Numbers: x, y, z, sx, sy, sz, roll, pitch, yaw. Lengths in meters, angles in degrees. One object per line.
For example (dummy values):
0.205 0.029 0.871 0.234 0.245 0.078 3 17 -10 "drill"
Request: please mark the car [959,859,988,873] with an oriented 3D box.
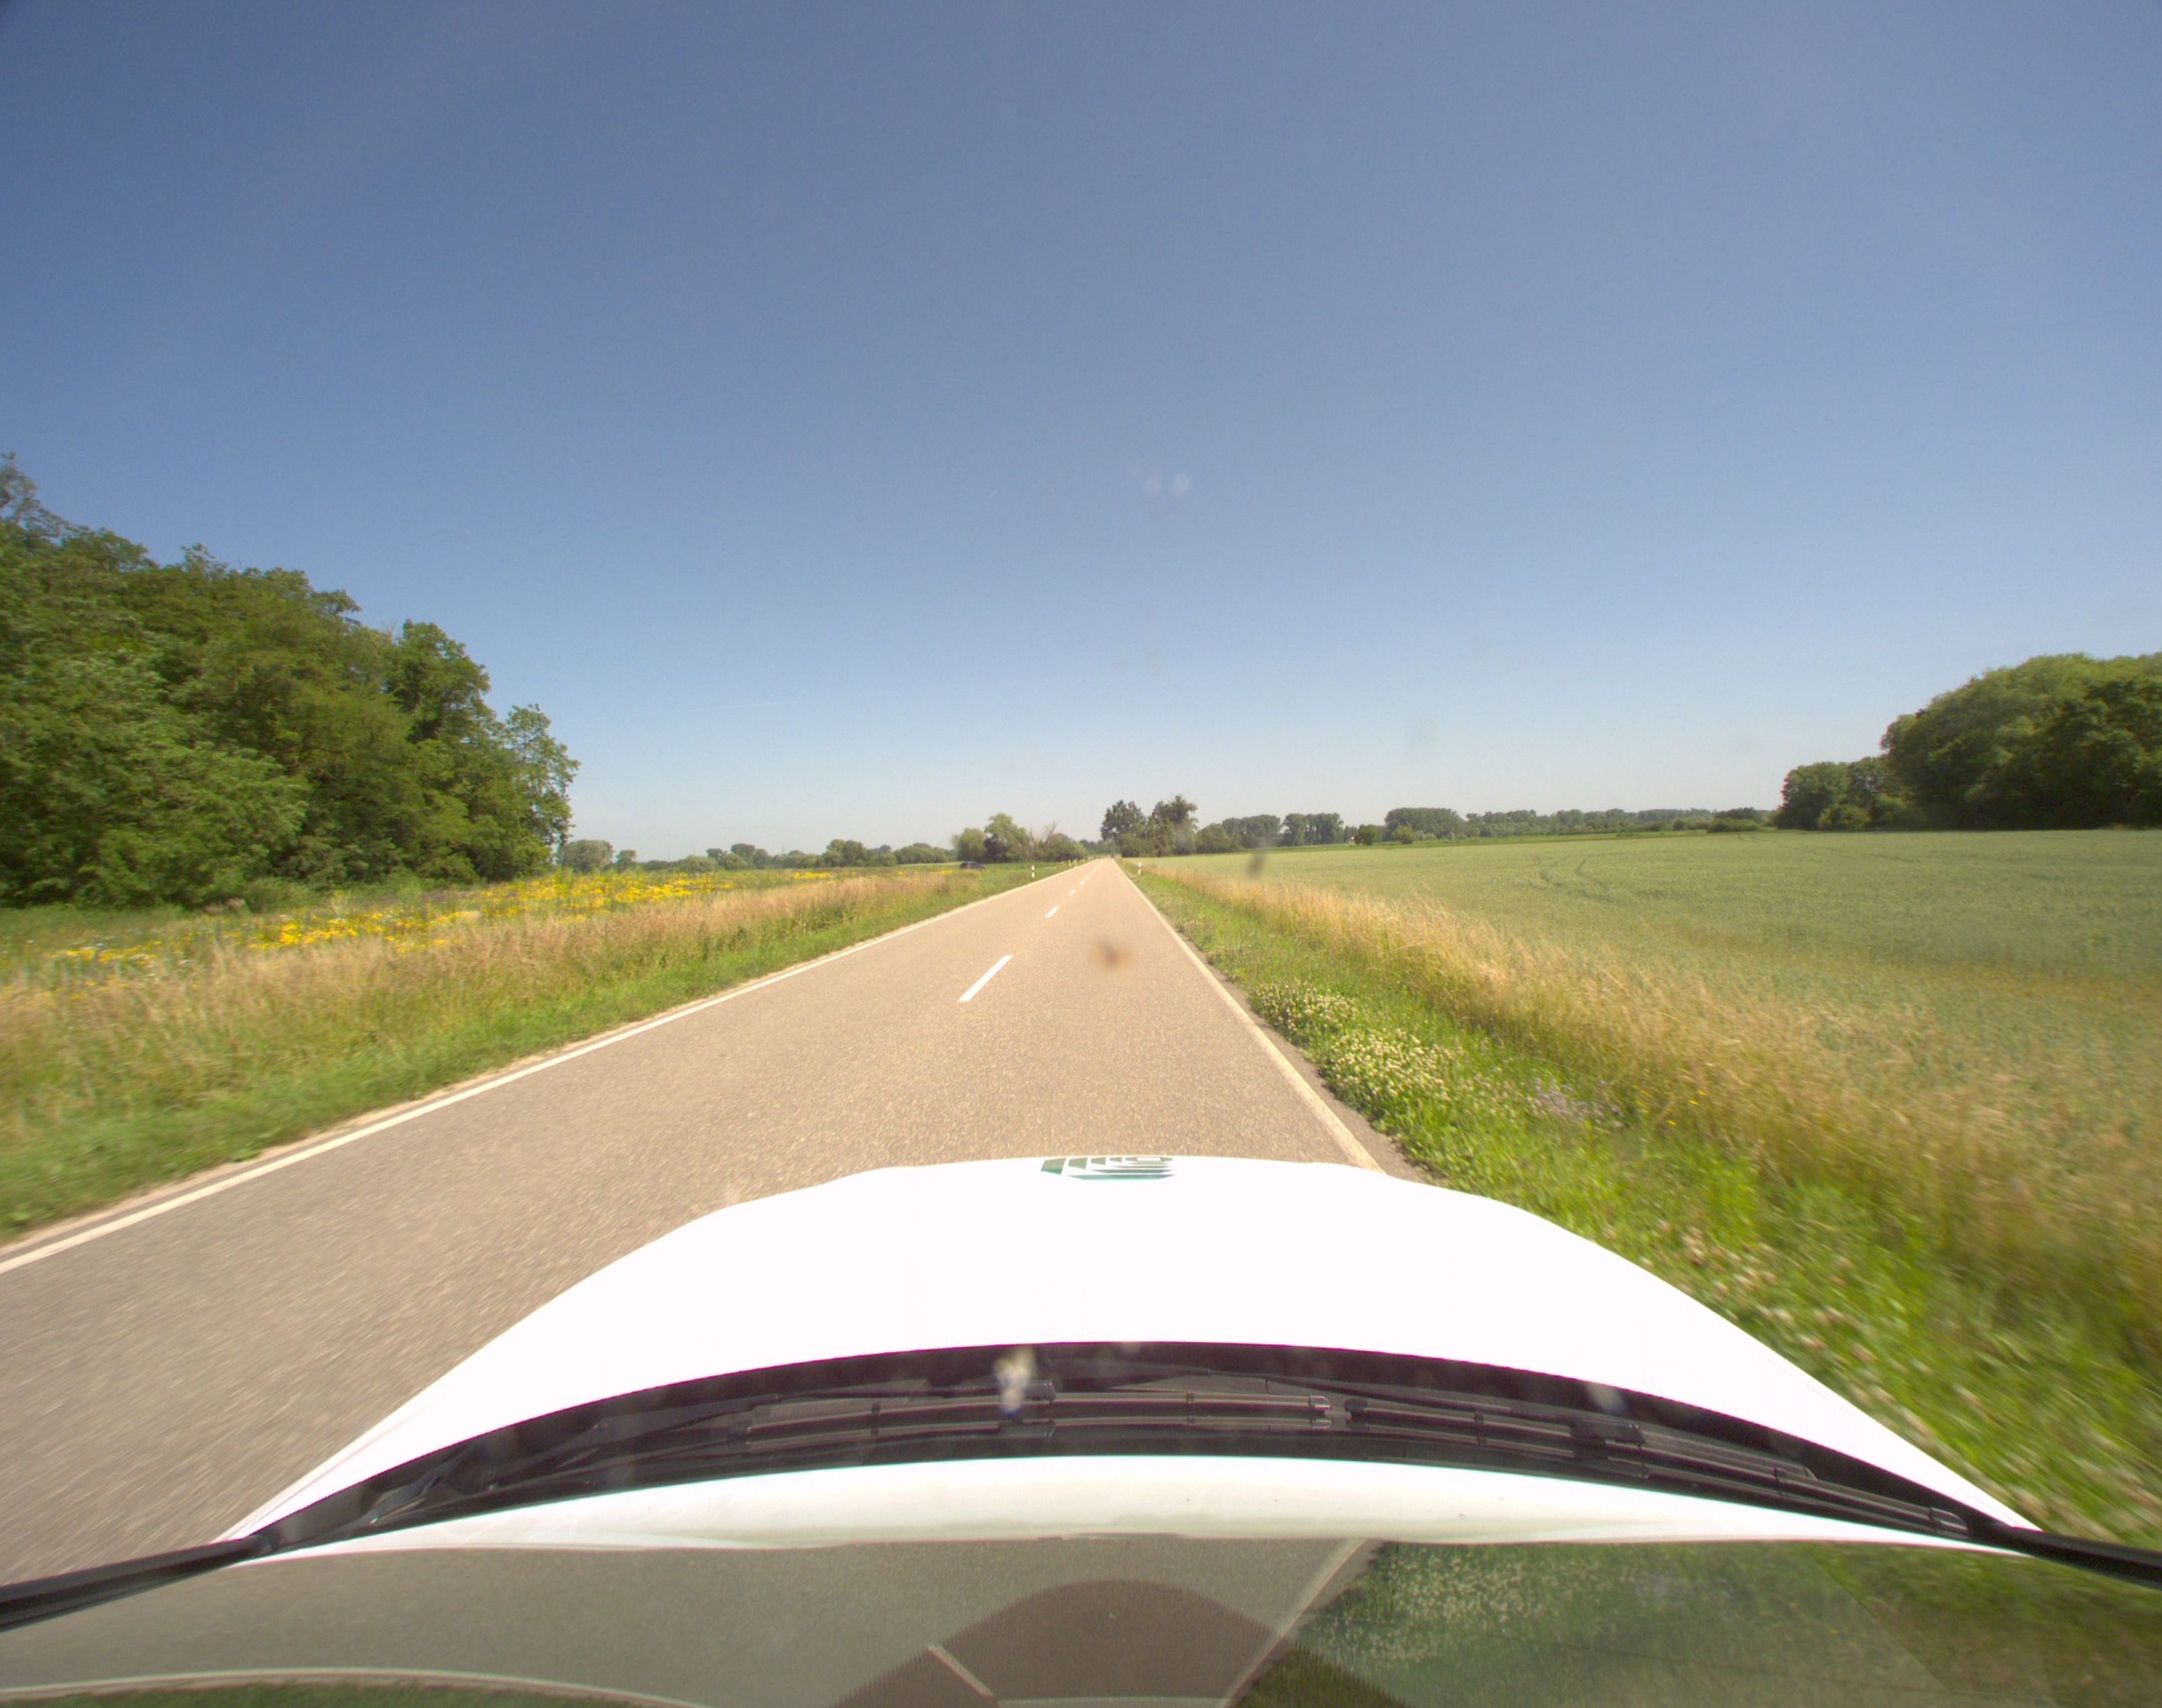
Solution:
-15.240 1.697 115.906 1.736 1.651 4.557 -3 0 27 "car"
